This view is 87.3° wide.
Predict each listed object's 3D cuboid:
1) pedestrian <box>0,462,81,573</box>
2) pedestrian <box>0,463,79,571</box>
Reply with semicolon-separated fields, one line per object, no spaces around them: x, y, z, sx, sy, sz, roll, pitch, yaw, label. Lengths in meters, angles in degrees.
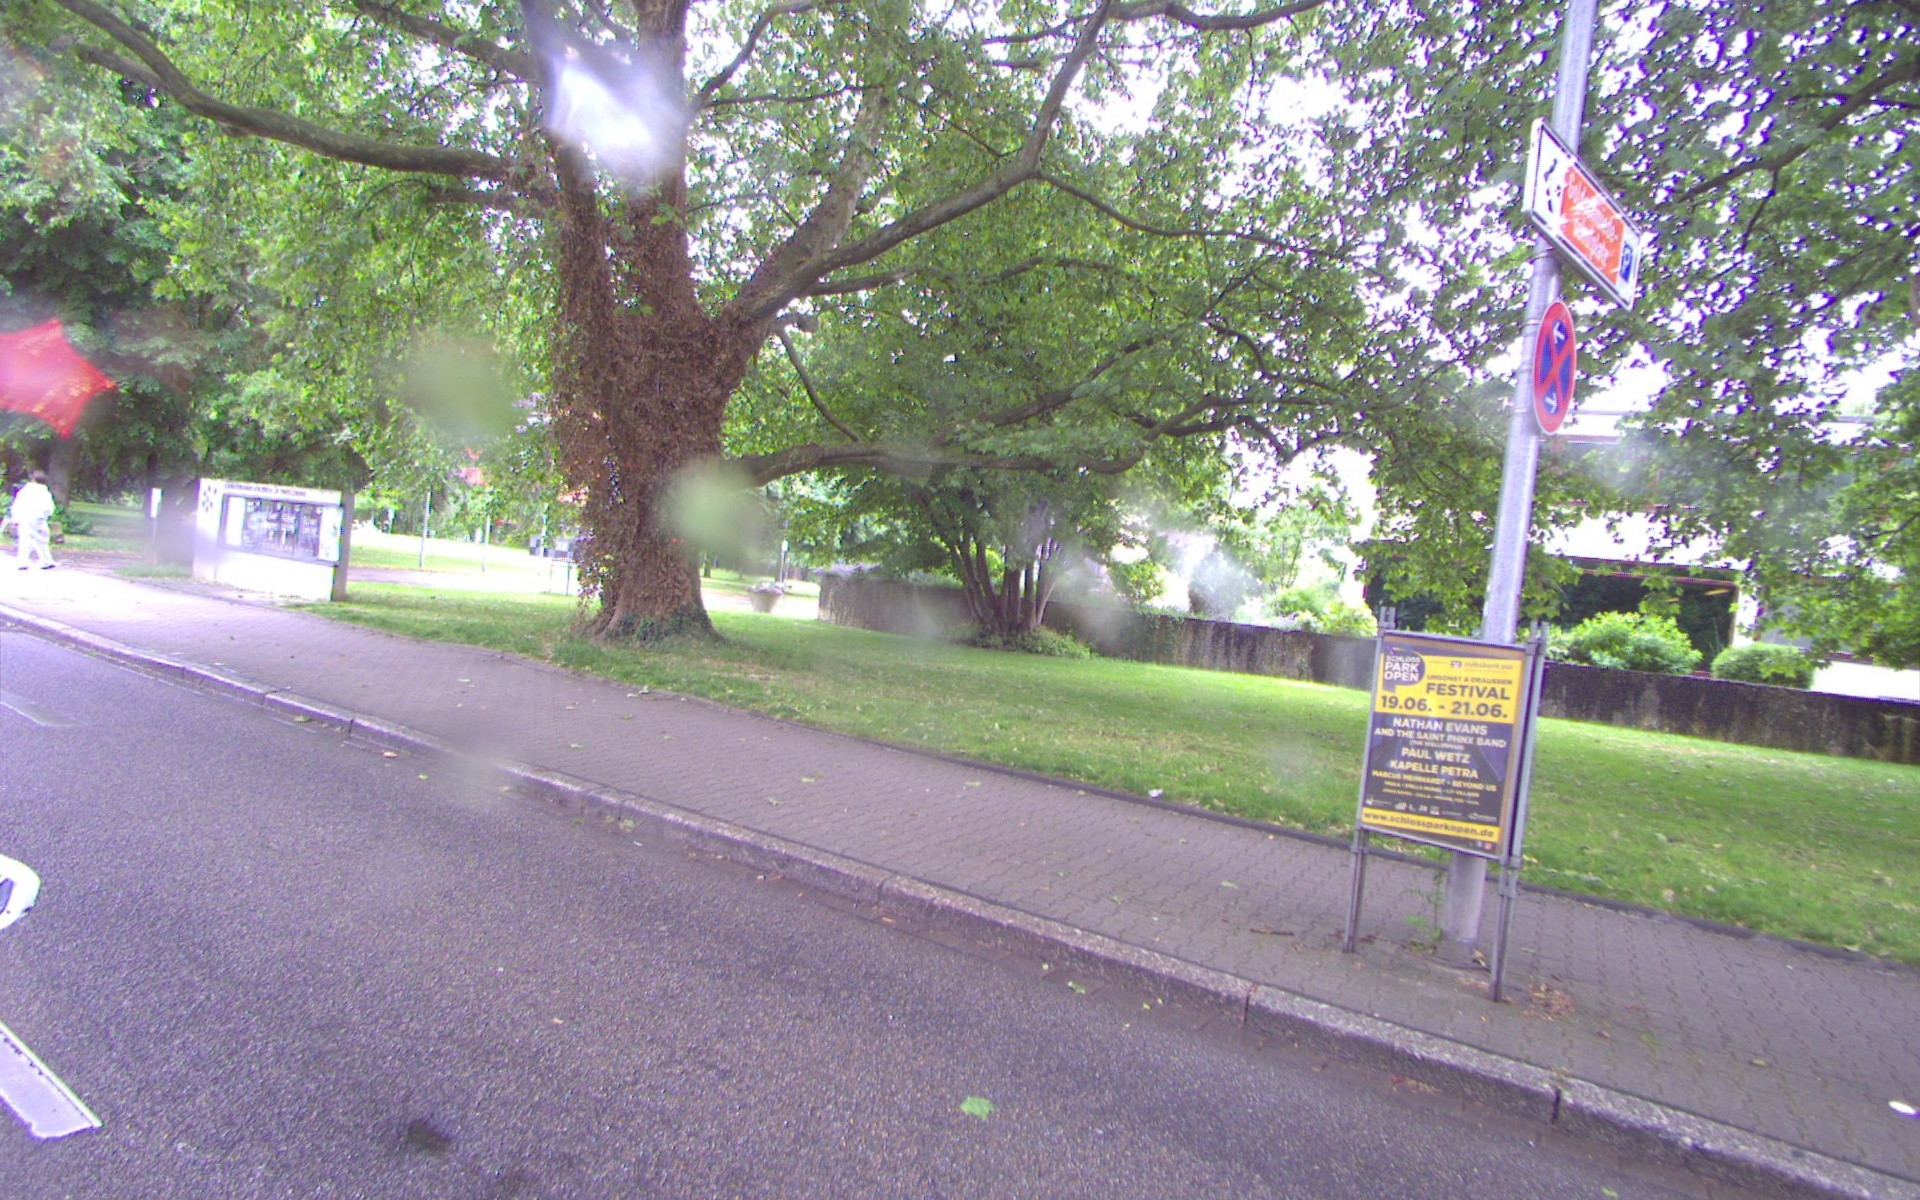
-16.675;-1.473;18.151;0.646;1.902;1.037;5;3;0;pedestrian
-17.206;-1.523;18.695;0.646;1.902;1.037;7;4;21;pedestrian
